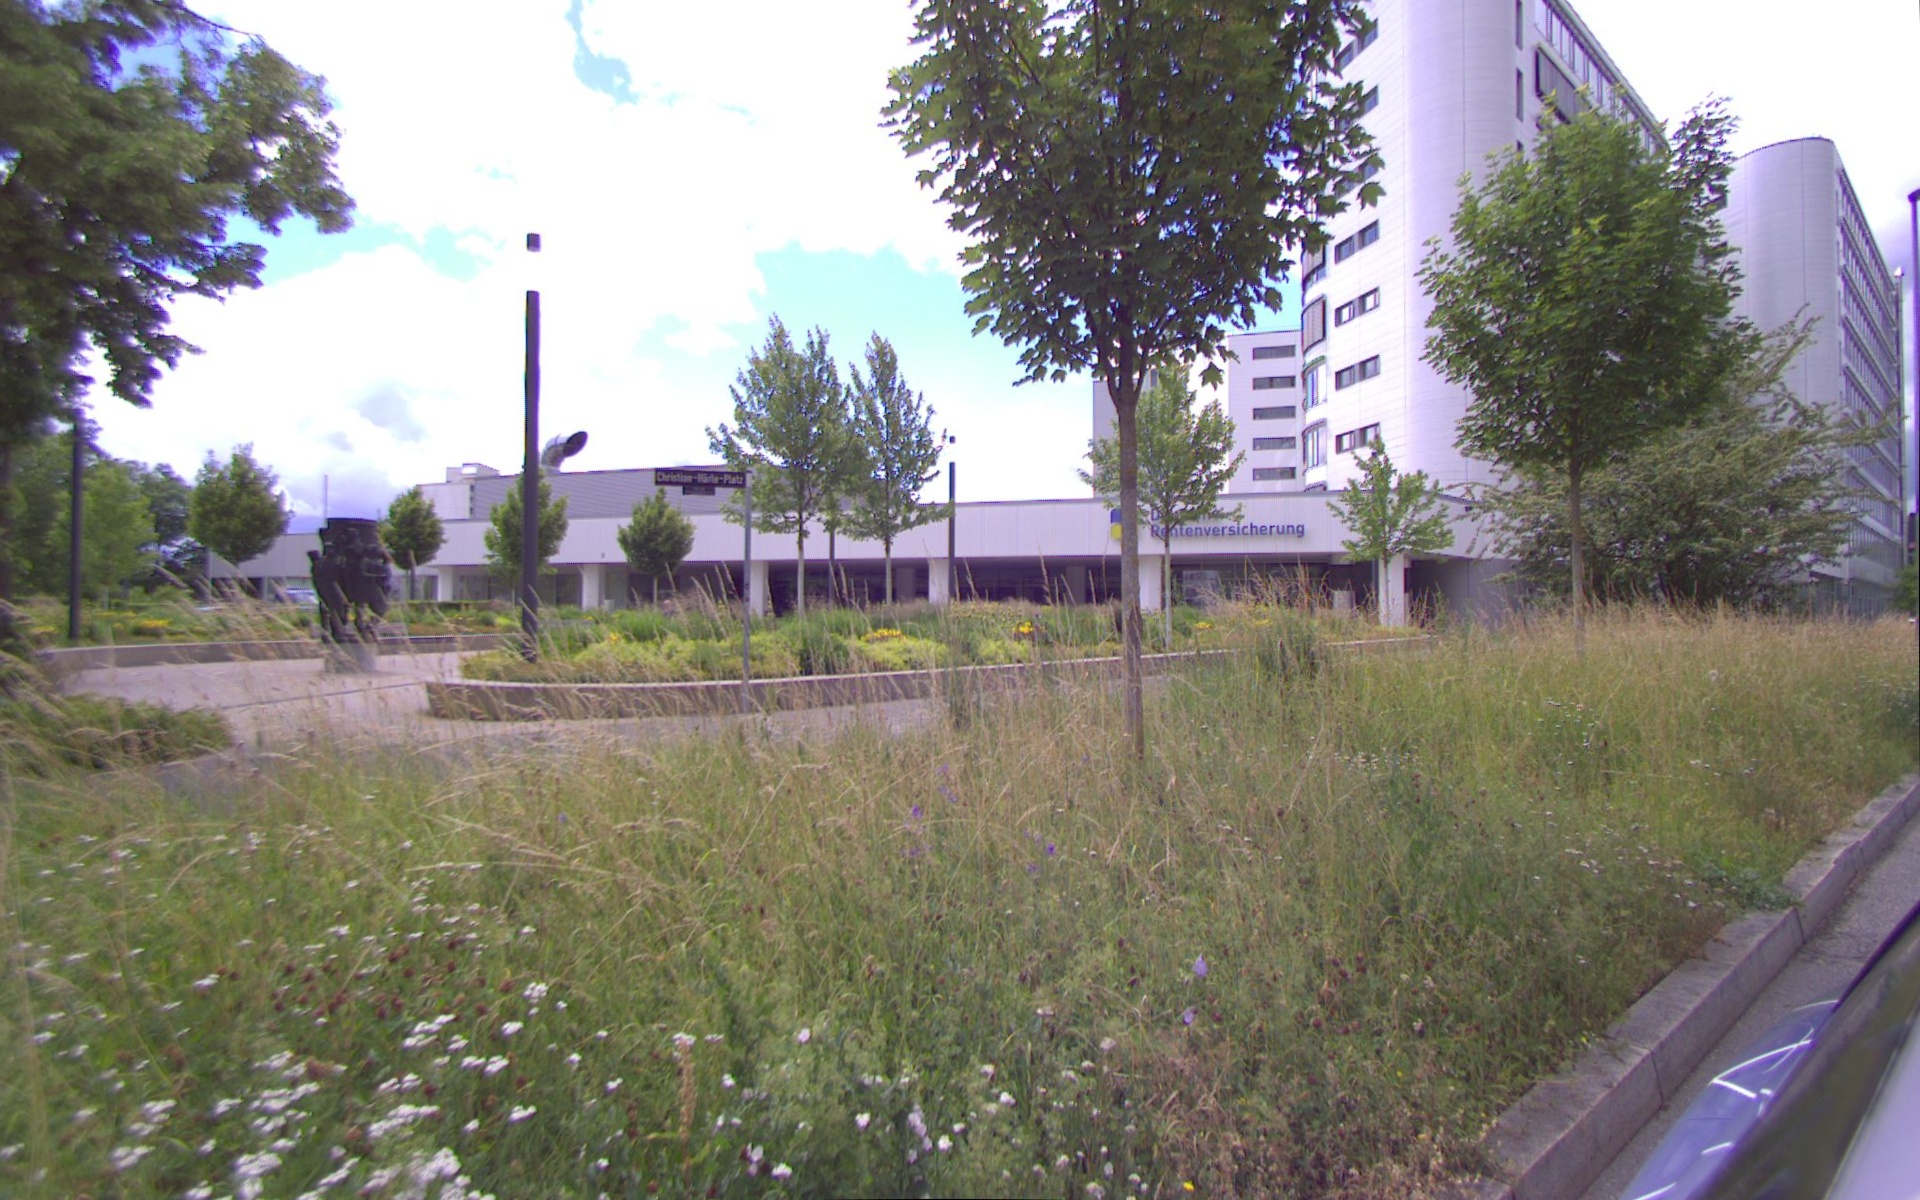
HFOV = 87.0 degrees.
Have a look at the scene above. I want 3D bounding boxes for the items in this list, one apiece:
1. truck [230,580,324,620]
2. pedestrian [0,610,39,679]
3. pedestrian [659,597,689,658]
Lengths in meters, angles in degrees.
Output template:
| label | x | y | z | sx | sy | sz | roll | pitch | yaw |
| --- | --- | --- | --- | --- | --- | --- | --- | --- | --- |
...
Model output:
| label | x | y | z | sx | sy | sz | roll | pitch | yaw |
| --- | --- | --- | --- | --- | --- | --- | --- | --- | --- |
| truck | -36.140 | -0.017 | 53.569 | 3.941 | 2.039 | 1.991 | 1 | 0 | 14 |
| pedestrian | -17.452 | 0.810 | 18.649 | 0.621 | 1.238 | 0.620 | 1 | 0 | -36 |
| pedestrian | -7.924 | 0.753 | 28.038 | 0.756 | 1.646 | 0.766 | 1 | 0 | -14 |
